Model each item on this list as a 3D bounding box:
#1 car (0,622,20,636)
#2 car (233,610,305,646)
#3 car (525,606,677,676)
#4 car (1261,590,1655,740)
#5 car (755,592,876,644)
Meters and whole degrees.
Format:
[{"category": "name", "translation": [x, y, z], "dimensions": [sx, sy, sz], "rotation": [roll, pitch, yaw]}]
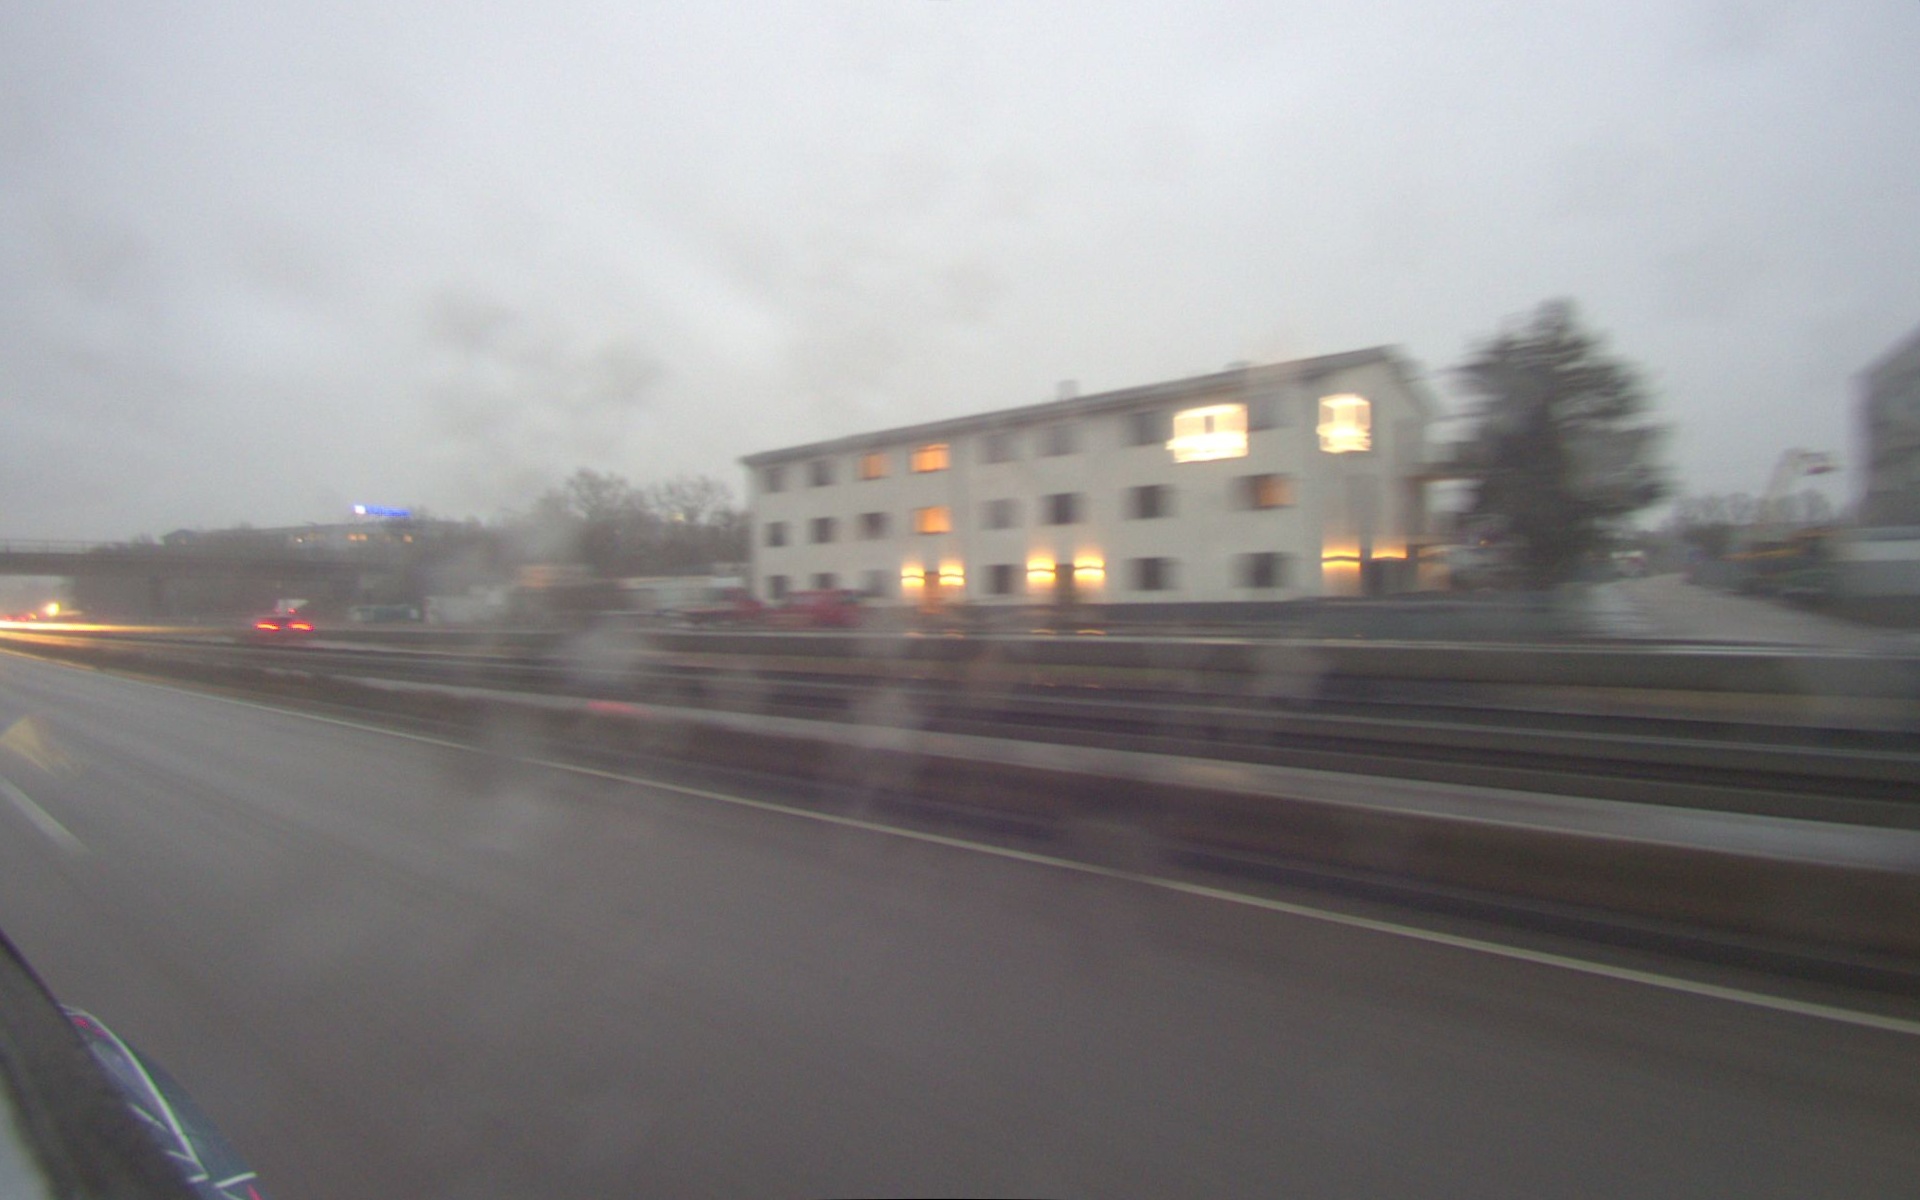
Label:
[{"category": "car", "translation": [-118.475, 3.598, 125.888], "dimensions": [3.999, 1.584, 1.972], "rotation": [-1, 0, 42]}, {"category": "car", "translation": [-30.862, 1.226, 45.166], "dimensions": [3.998, 1.519, 1.718], "rotation": [-1, 0, 41]}, {"category": "car", "translation": [-8.741, 0.949, 24.513], "dimensions": [3.998, 1.519, 1.718], "rotation": [-1, 0, 41]}, {"category": "car", "translation": [5.933, 0.682, 12.331], "dimensions": [3.998, 1.519, 1.718], "rotation": [-1, 0, 41]}, {"category": "car", "translation": [-6.051, 0.736, 42.083], "dimensions": [4.956, 2.029, 2.134], "rotation": [-1, 0, 39]}]
